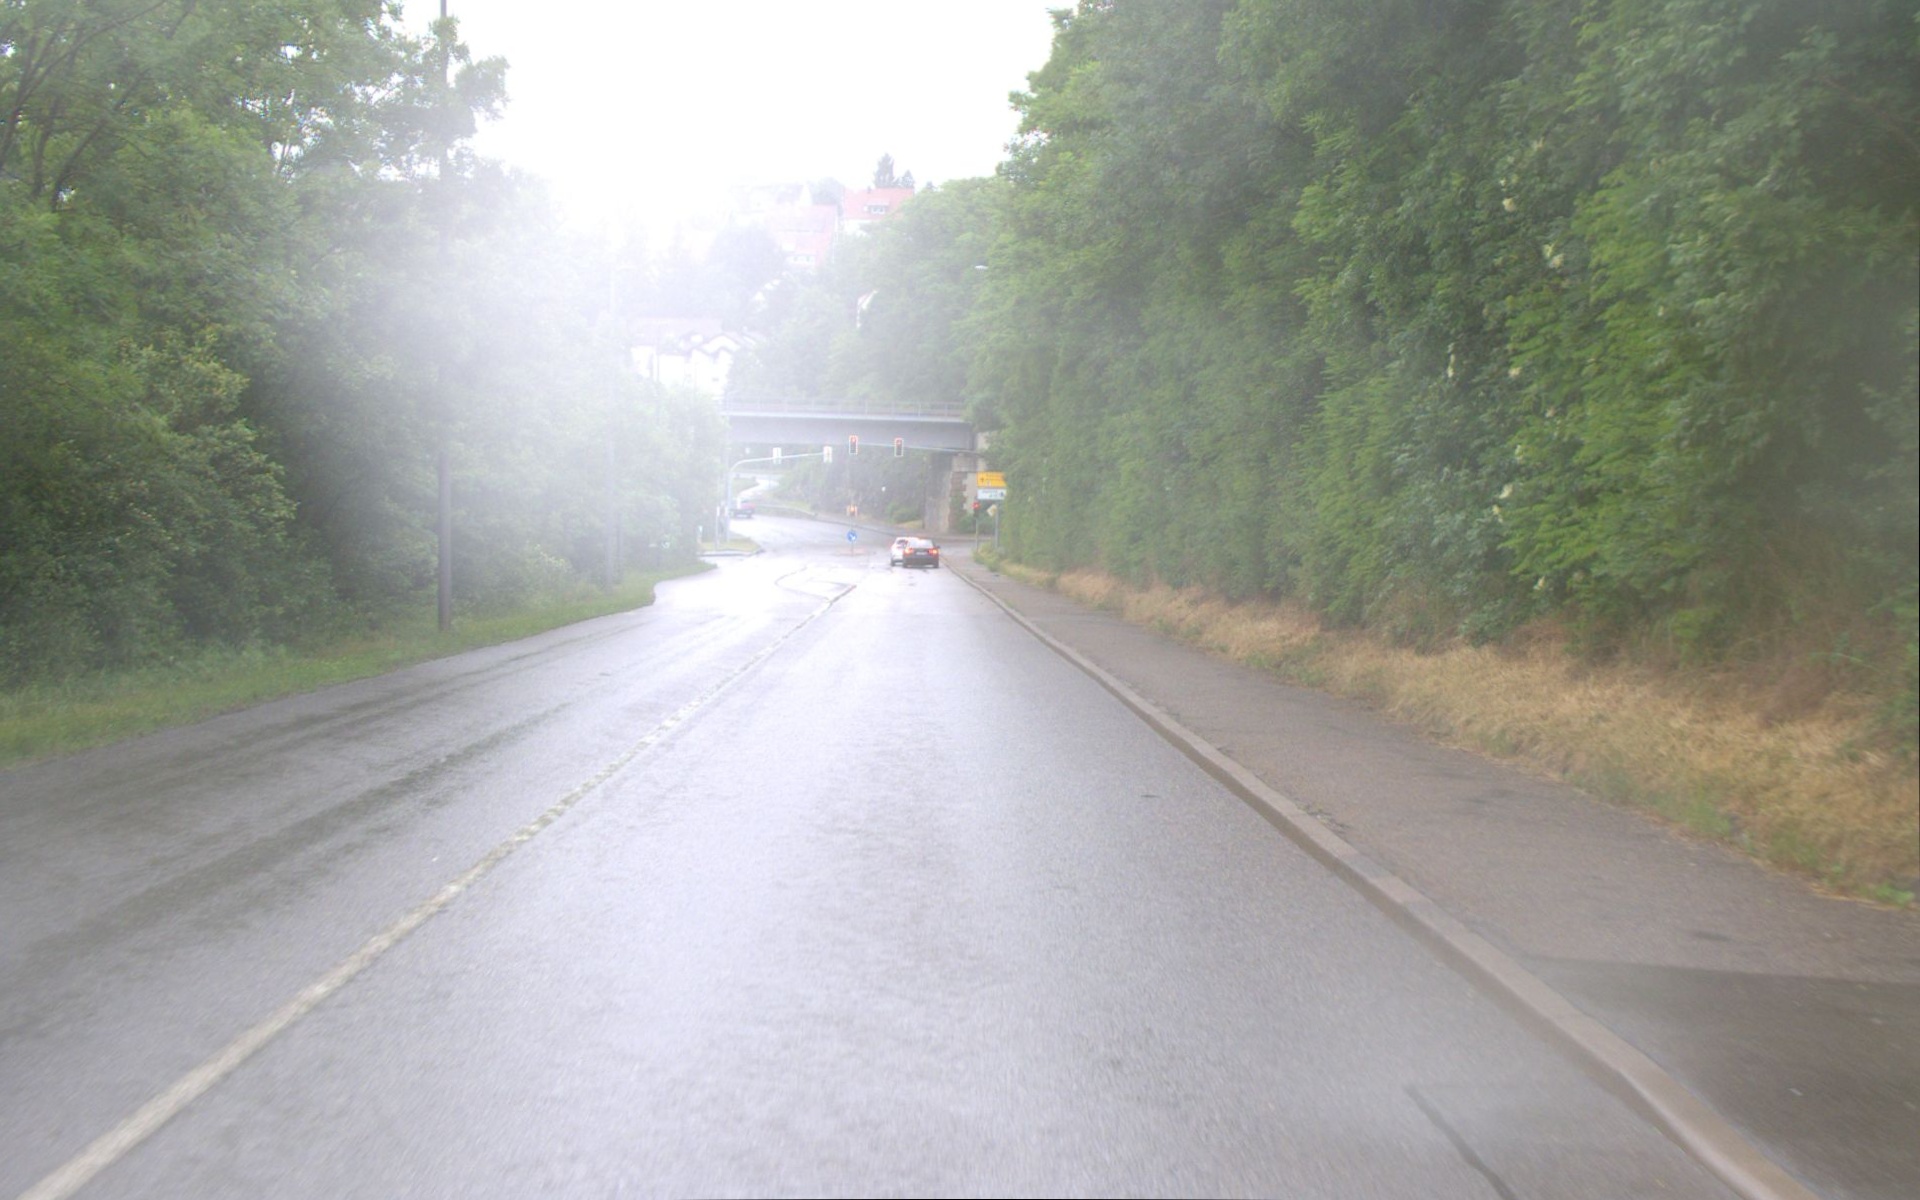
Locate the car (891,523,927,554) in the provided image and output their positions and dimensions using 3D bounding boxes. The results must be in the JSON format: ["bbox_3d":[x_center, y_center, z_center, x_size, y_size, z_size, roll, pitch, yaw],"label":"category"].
[{"bbox_3d":[-2.604,-3.152,176.874,1.768,1.557,4.000,0,1,0],"label":"car"}]

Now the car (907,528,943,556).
[{"bbox_3d":[-1.731,-2.865,170.309,1.768,1.375,4.000,0,1,0],"label":"car"}]
